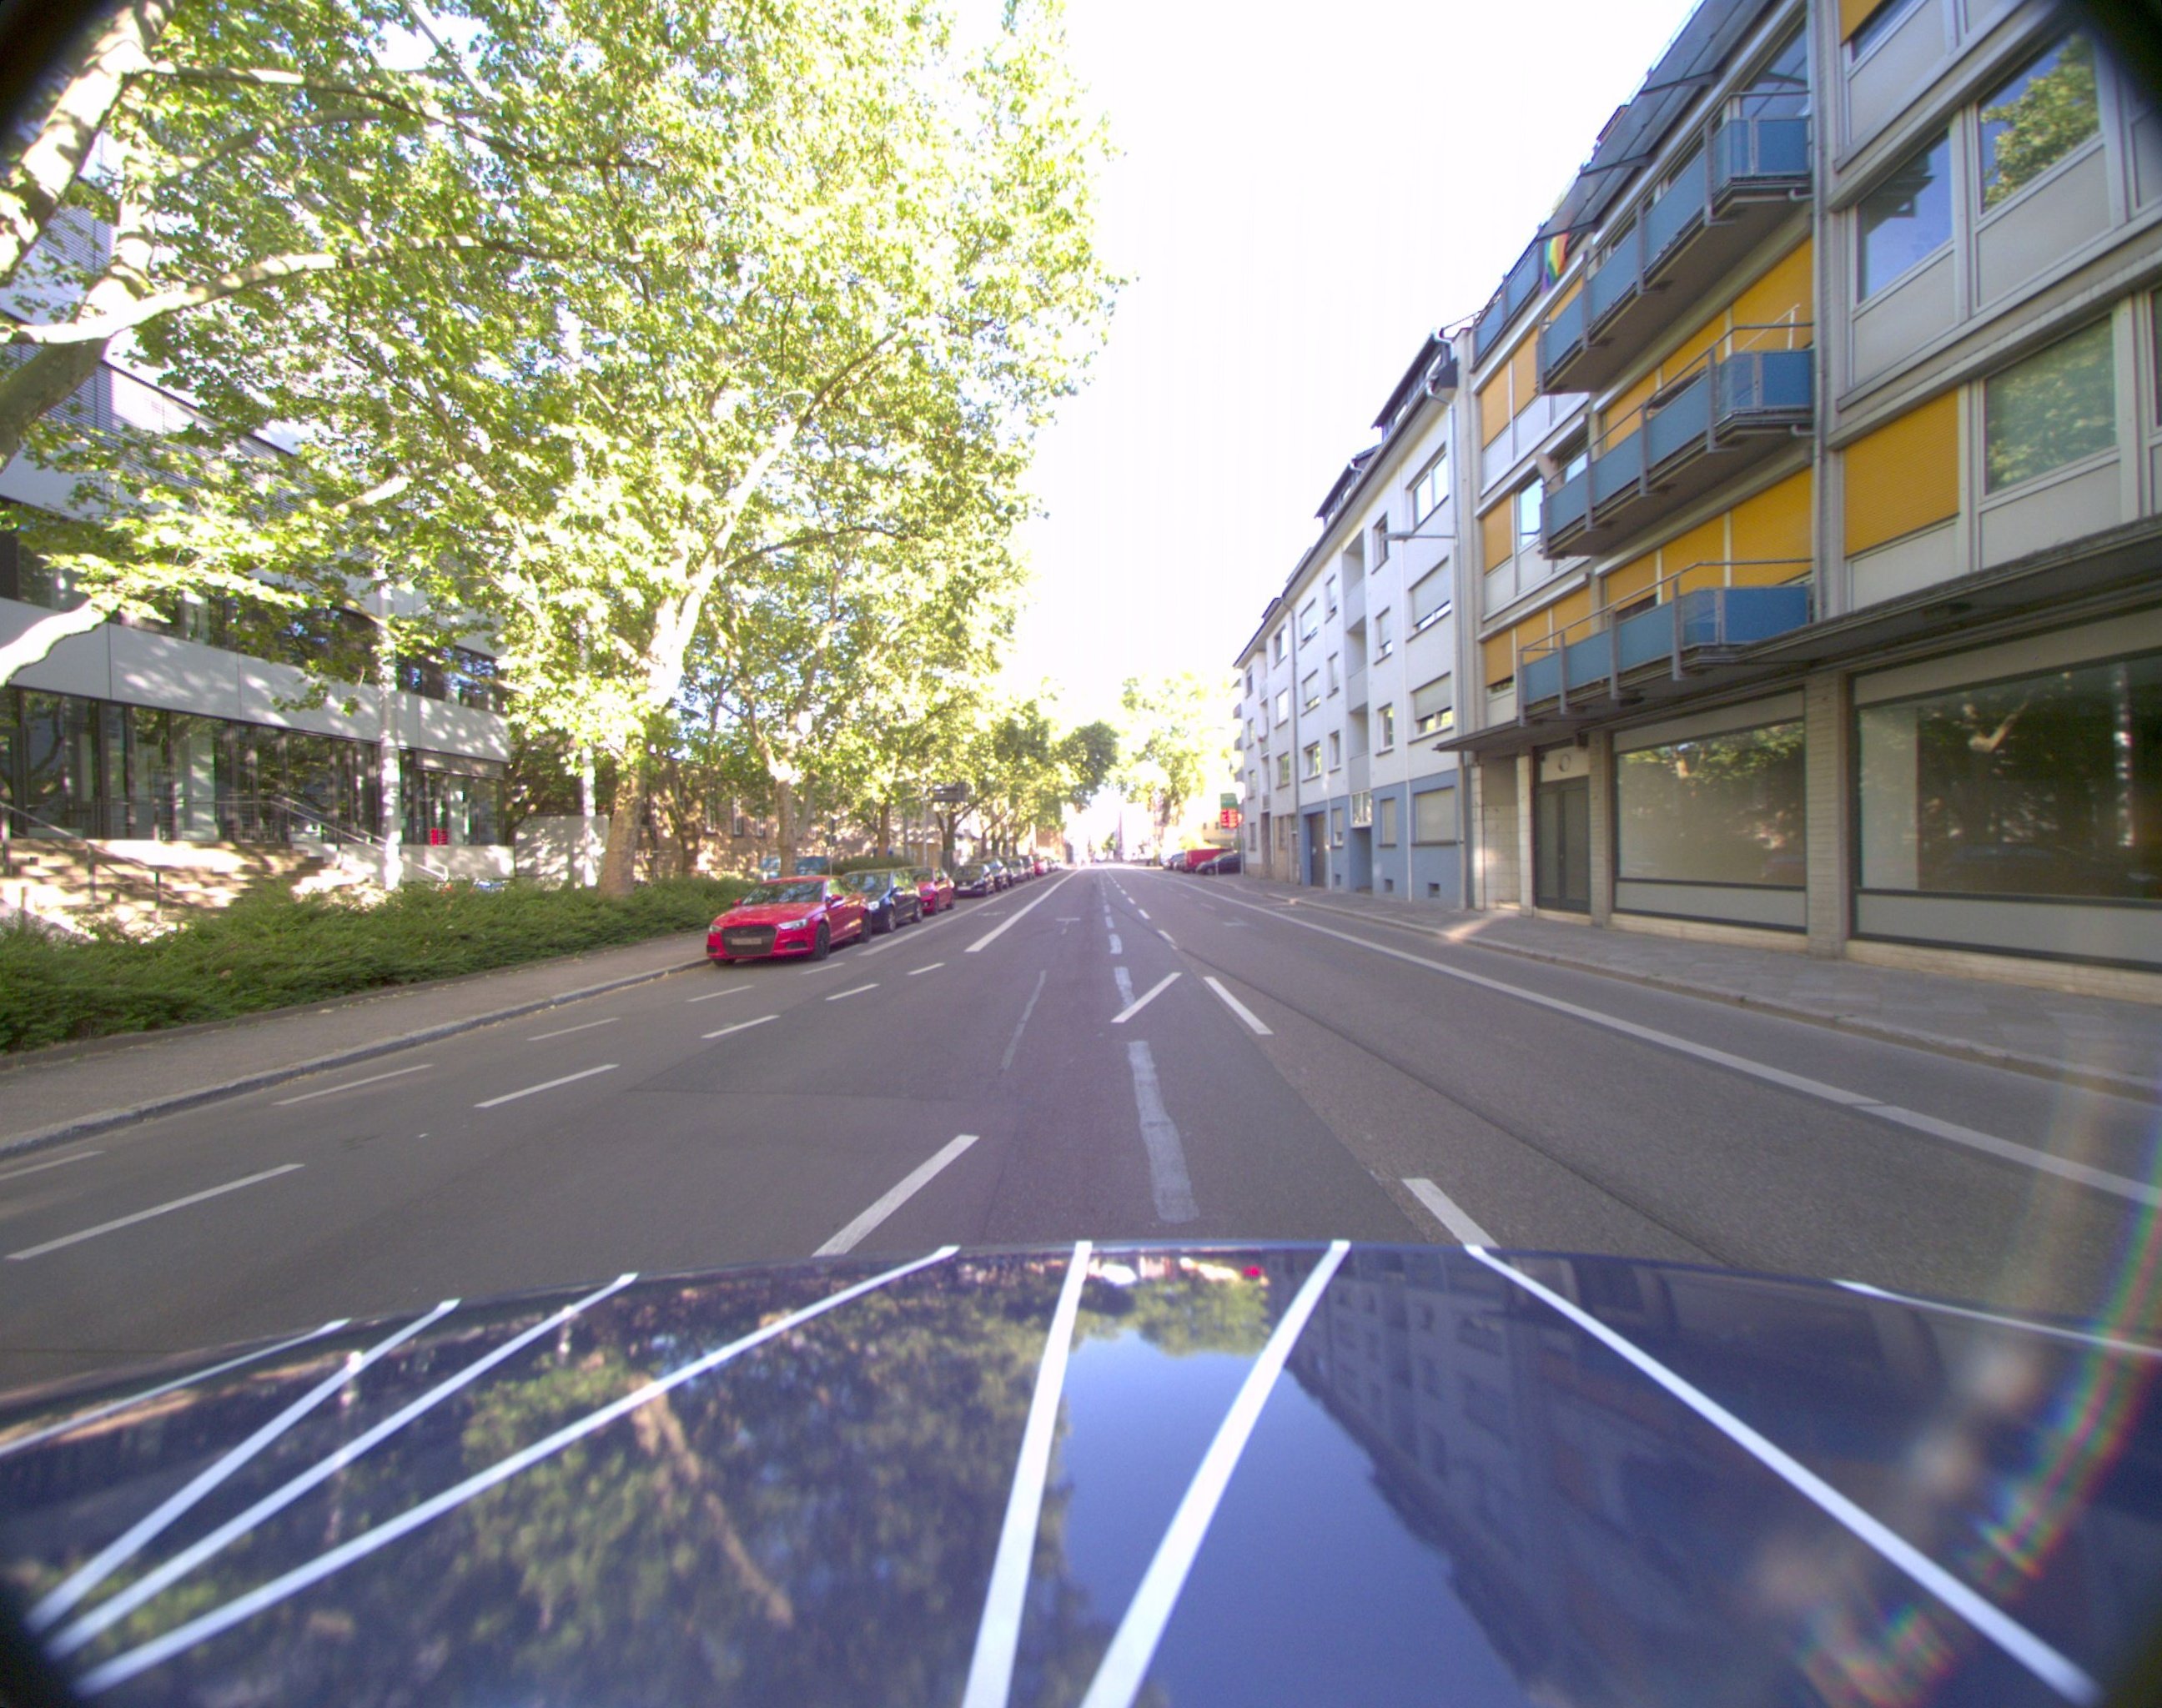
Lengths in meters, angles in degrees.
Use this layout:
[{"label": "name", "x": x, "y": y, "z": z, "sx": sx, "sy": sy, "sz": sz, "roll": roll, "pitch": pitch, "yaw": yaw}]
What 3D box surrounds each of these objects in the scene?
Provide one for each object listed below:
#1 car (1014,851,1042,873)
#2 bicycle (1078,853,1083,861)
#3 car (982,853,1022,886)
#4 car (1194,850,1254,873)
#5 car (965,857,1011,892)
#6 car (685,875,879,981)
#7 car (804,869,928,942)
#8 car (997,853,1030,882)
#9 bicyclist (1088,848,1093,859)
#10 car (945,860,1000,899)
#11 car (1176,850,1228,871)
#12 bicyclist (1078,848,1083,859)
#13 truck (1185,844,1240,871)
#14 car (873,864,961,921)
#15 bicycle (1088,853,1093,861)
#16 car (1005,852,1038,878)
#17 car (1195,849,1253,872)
[{"label": "car", "x": -4.592, "y": 0.694, "z": 66.097, "sx": 2.042, "sy": 1.745, "sz": 4.552, "roll": -3, "pitch": 0, "yaw": 0}, {"label": "bicycle", "x": -0.041, "y": 0.437, "z": 111.140, "sx": 0.717, "sy": 1.052, "sz": 2.485, "roll": -2, "pitch": 1, "yaw": 1}, {"label": "car", "x": -4.525, "y": 0.865, "z": 44.152, "sx": 1.790, "sy": 1.745, "sz": 4.345, "roll": -3, "pitch": 0, "yaw": 0}, {"label": "car", "x": 10.253, "y": 0.543, "z": 54.799, "sx": 3.996, "sy": 1.449, "sz": 1.761, "roll": -2, "pitch": 1, "yaw": 2}, {"label": "car", "x": -4.602, "y": 0.975, "z": 38.136, "sx": 1.790, "sy": 1.544, "sz": 4.163, "roll": -3, "pitch": 0, "yaw": 0}, {"label": "car", "x": -5.138, "y": 1.192, "z": 13.724, "sx": 1.818, "sy": 1.405, "sz": 4.163, "roll": -3, "pitch": 0, "yaw": 0}, {"label": "car", "x": -5.083, "y": 1.168, "z": 18.580, "sx": 1.818, "sy": 1.405, "sz": 4.163, "roll": -3, "pitch": 0, "yaw": 0}, {"label": "car", "x": -4.447, "y": 0.848, "z": 50.708, "sx": 1.790, "sy": 1.745, "sz": 4.552, "roll": -3, "pitch": 0, "yaw": 0}, {"label": "bicyclist", "x": 1.392, "y": -0.118, "z": 111.789, "sx": 0.718, "sy": 1.573, "sz": 0.936, "roll": -2, "pitch": 1, "yaw": 1}, {"label": "car", "x": -4.703, "y": 1.075, "z": 33.390, "sx": 1.790, "sy": 1.451, "sz": 4.163, "roll": -3, "pitch": 0, "yaw": 0}, {"label": "car", "x": 9.977, "y": 0.522, "z": 62.848, "sx": 3.996, "sy": 1.494, "sz": 1.761, "roll": -2, "pitch": 1, "yaw": 2}, {"label": "bicyclist", "x": -0.054, "y": -0.056, "z": 111.193, "sx": 0.718, "sy": 1.573, "sz": 0.936, "roll": -2, "pitch": 1, "yaw": 1}, {"label": "truck", "x": 10.367, "y": 0.242, "z": 59.995, "sx": 3.996, "sy": 1.925, "sz": 1.761, "roll": -2, "pitch": 1, "yaw": 2}, {"label": "car", "x": -5.030, "y": 1.122, "z": 23.863, "sx": 1.818, "sy": 1.475, "sz": 4.163, "roll": -3, "pitch": 0, "yaw": 0}, {"label": "bicycle", "x": 1.409, "y": 0.405, "z": 111.792, "sx": 0.717, "sy": 1.052, "sz": 2.485, "roll": -2, "pitch": 1, "yaw": 1}, {"label": "car", "x": -4.318, "y": 0.792, "z": 55.666, "sx": 2.042, "sy": 1.745, "sz": 4.552, "roll": -3, "pitch": 0, "yaw": 0}, {"label": "car", "x": 10.727, "y": 0.476, "z": 57.146, "sx": 3.996, "sy": 1.494, "sz": 1.761, "roll": -2, "pitch": 1, "yaw": 2}]
